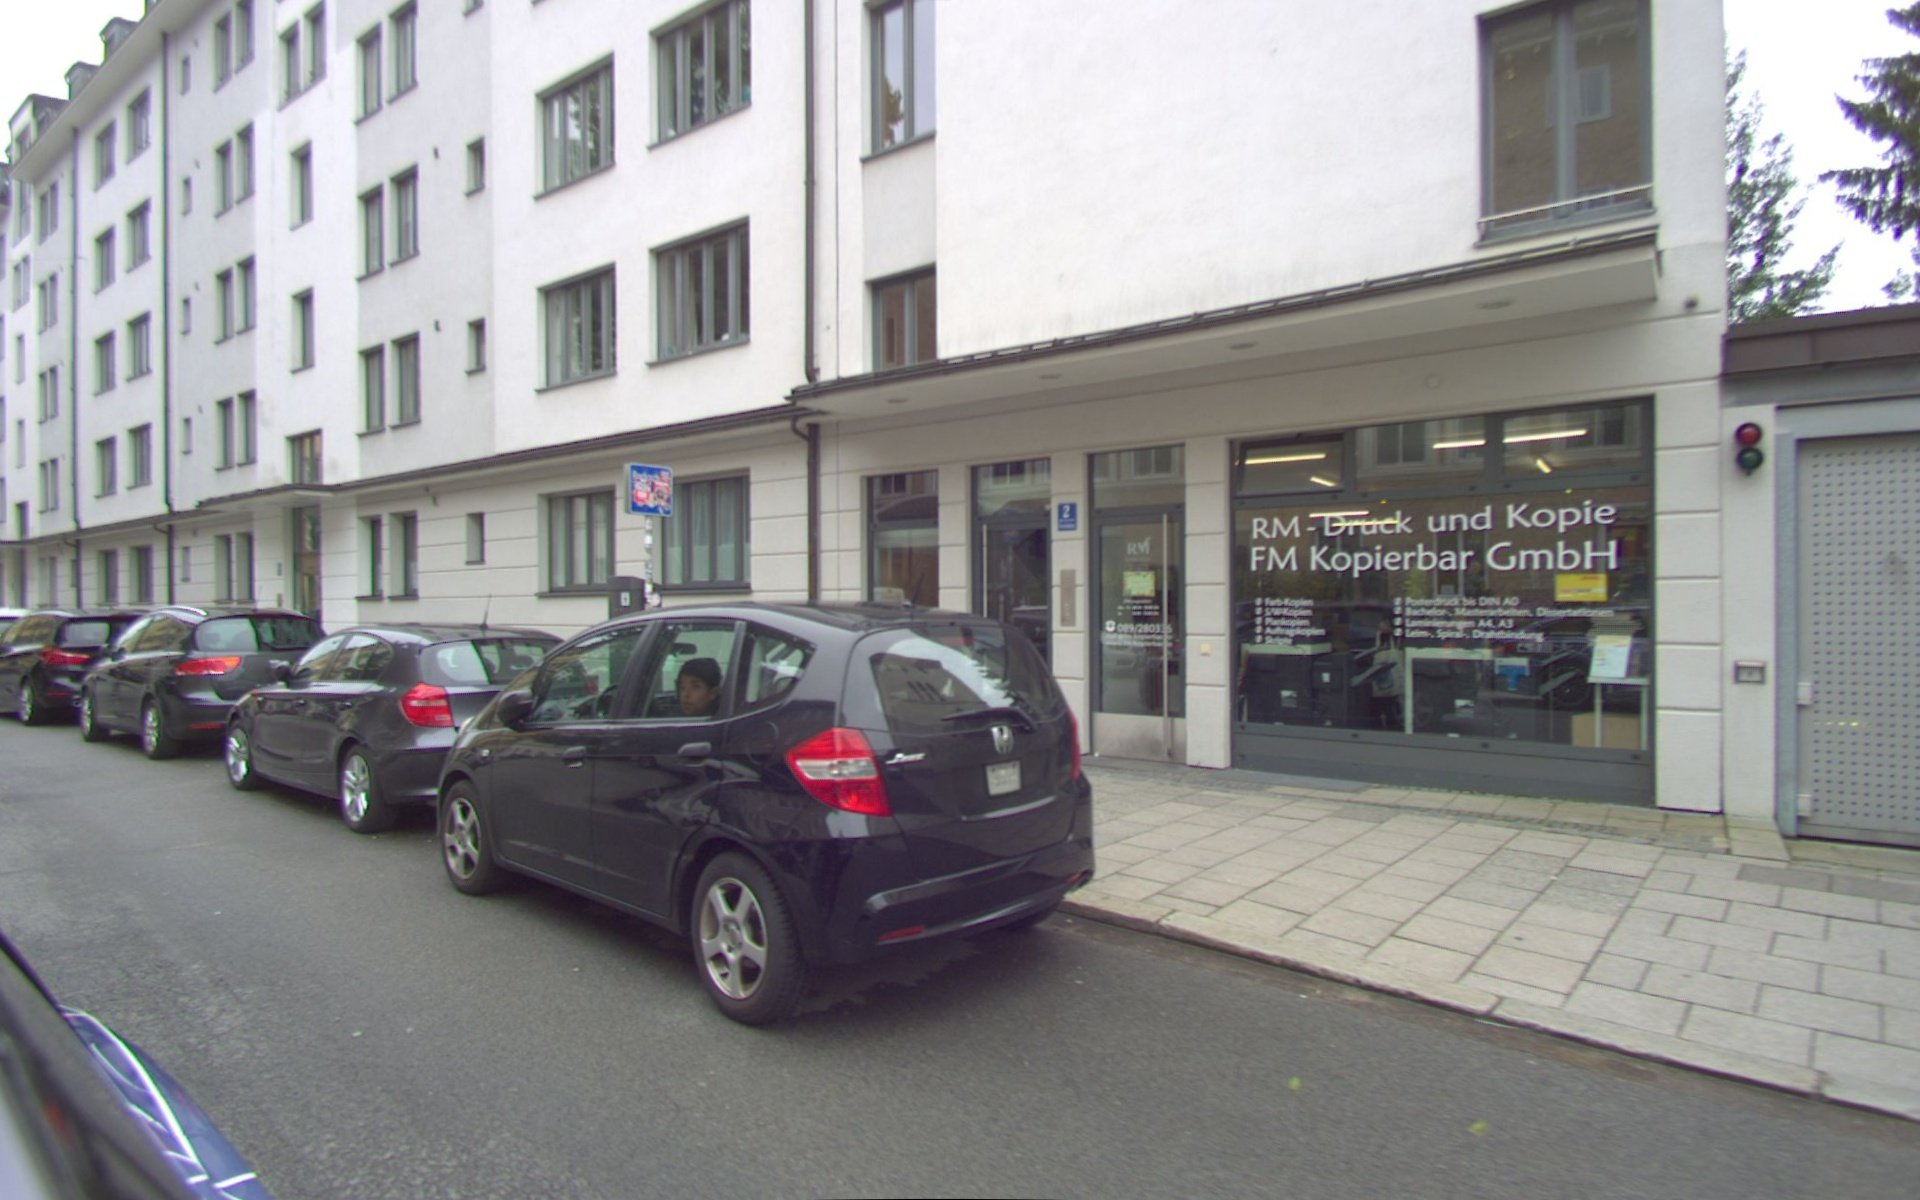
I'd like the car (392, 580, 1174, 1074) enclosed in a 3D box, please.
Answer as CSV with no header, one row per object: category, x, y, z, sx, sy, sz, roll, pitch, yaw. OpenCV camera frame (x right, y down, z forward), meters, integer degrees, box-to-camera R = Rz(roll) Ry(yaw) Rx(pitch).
car,-1.153,0.752,5.028,4.014,1.464,1.732,-2,-3,42

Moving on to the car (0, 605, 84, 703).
car,-17.983,0.980,18.618,4.581,1.671,1.855,-2,-3,36

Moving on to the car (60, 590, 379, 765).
car,-8.592,0.821,11.649,4.072,1.671,1.855,-2,-3,37

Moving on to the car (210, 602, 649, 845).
car,-4.375,0.826,8.096,4.012,1.464,1.733,-2,-3,40

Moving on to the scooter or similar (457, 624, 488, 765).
scooter or similar,-4.981,0.926,10.356,0.222,1.366,1.122,0,-2,-23

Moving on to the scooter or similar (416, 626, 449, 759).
scooter or similar,-5.711,0.966,10.980,0.222,1.366,1.122,0,-2,-23

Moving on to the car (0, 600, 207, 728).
car,-13.405,0.917,15.293,4.578,1.671,1.856,-2,-3,34
